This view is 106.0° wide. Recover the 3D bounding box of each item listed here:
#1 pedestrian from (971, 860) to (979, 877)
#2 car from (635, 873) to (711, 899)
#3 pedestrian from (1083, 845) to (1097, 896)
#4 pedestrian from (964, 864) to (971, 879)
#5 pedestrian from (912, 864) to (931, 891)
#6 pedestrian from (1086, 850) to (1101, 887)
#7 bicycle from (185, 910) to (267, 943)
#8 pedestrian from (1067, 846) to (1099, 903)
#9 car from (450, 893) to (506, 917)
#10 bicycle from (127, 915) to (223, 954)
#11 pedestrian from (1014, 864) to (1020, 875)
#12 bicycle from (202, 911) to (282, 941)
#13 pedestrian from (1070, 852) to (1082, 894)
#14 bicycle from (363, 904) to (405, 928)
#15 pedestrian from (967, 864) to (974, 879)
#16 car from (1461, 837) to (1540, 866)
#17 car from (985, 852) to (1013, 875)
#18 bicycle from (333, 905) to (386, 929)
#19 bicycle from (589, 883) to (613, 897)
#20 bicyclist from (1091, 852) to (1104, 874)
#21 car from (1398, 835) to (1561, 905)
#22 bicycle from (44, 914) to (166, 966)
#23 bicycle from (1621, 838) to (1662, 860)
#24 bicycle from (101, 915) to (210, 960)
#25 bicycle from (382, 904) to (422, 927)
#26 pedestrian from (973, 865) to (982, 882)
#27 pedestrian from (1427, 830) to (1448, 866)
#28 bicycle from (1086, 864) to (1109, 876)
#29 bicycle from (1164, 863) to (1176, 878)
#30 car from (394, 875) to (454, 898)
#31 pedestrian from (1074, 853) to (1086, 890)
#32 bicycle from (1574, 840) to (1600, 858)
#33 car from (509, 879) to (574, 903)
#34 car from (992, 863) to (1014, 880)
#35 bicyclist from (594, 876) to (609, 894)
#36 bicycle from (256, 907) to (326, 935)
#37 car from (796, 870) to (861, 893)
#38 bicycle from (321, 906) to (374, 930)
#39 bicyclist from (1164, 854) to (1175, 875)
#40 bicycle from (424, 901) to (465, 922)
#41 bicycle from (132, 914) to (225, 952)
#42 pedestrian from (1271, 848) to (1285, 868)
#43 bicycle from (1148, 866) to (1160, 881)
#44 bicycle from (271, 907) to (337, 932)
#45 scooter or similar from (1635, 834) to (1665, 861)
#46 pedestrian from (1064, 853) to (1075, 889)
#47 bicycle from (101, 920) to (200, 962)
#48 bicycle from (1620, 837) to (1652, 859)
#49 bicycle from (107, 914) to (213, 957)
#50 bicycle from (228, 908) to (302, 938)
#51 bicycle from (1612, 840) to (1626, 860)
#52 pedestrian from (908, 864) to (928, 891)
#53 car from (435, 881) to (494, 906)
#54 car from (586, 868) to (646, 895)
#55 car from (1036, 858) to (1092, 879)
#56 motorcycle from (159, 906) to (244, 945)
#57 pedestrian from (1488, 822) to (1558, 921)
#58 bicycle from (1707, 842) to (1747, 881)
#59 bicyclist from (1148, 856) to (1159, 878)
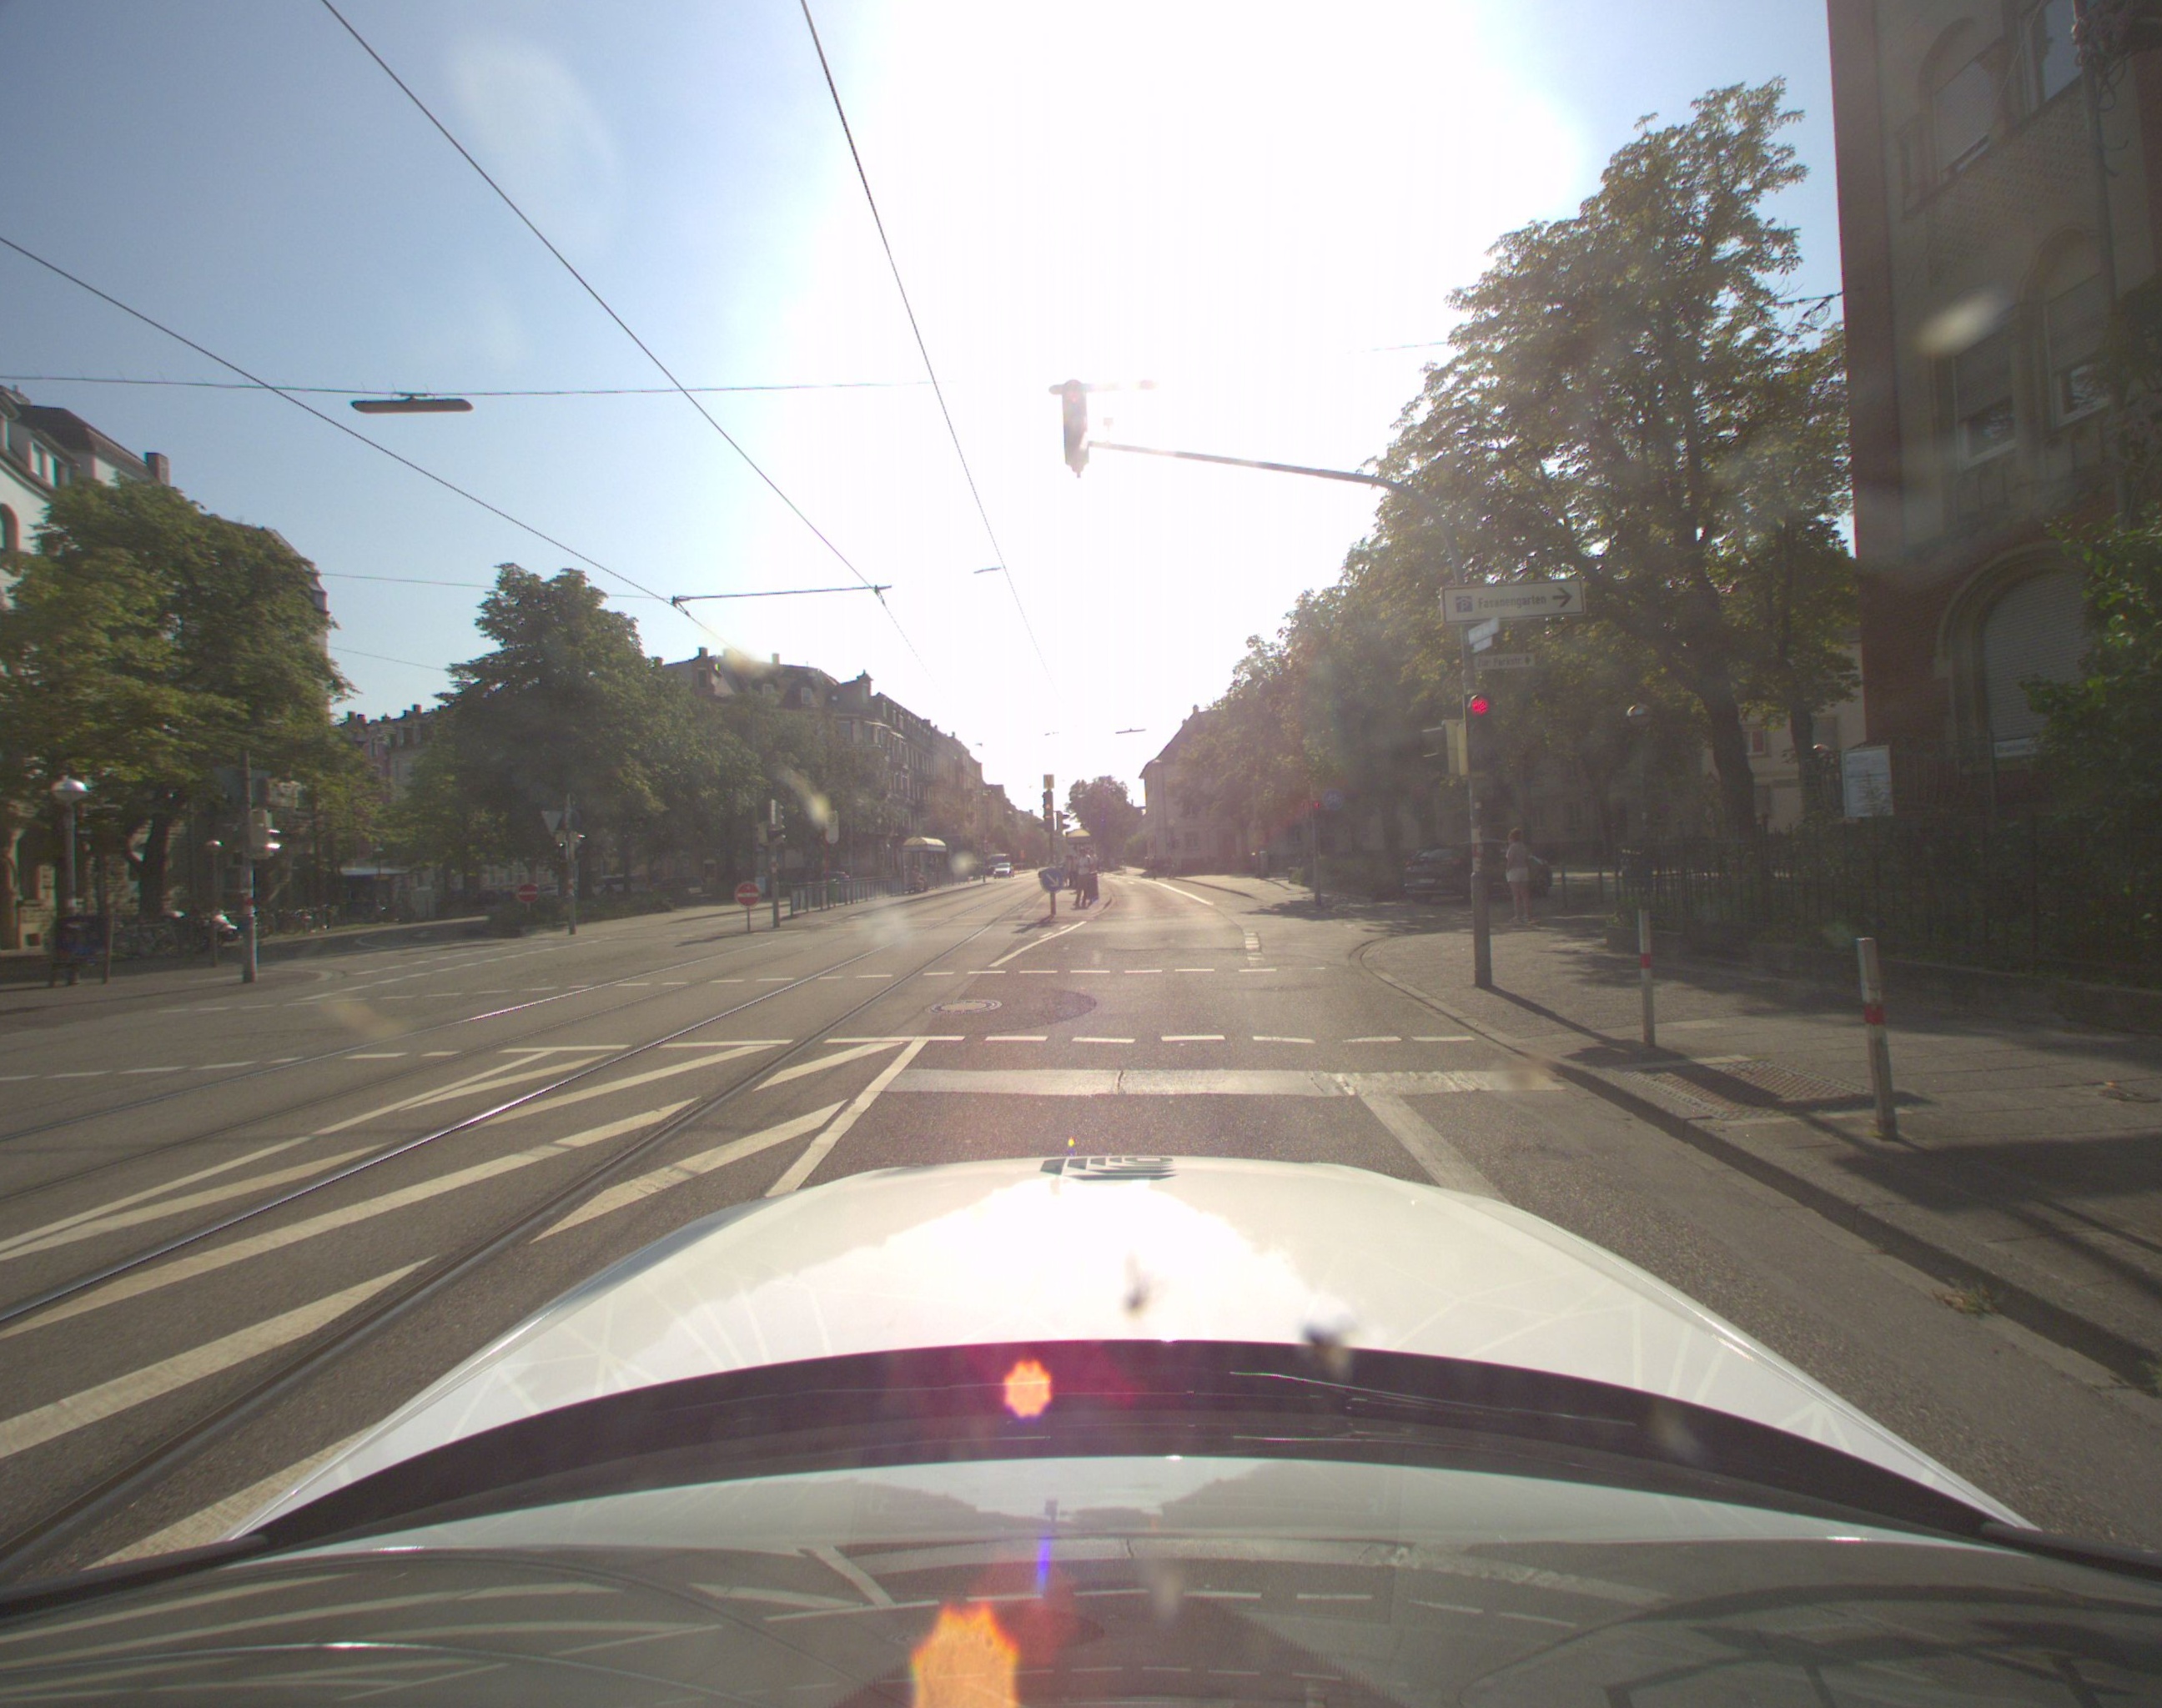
[{"bbox_3d":[-11.116,1.482,85.687,0.749,1.731,0.769,-3,-1,-8],"label":"pedestrian"},{"bbox_3d":[-28.461,2.195,56.980,4.330,1.569,1.990,-3,-1,-15],"label":"car"},{"bbox_3d":[0.322,0.602,29.911,0.502,1.834,0.534,0,2,1],"label":"pedestrian"},{"bbox_3d":[-13.169,2.067,94.570,0.749,1.731,0.769,-3,-1,-8],"label":"pedestrian"},{"bbox_3d":[-8.477,1.245,43.377,0.826,1.359,0.775,-3,-1,-4],"label":"pedestrian"},{"bbox_3d":[0.594,0.677,38.809,0.706,1.759,0.534,0,2,1],"label":"pedestrian"},{"bbox_3d":[-30.260,2.549,28.847,1.885,1.027,0.657,-2,-1,-33],"label":"bicycle"},{"bbox_3d":[0.063,0.625,25.647,0.693,1.725,0.753,1,2,34],"label":"pedestrian"},{"bbox_3d":[-51.421,4.315,69.500,3.952,1.828,2.011,-3,0,22],"label":"car"},{"bbox_3d":[-26.769,2.370,24.109,1.814,0.984,0.563,-1,-2,-40],"label":"bicycle"},{"bbox_3d":[-10.333,2.430,131.449,0.749,1.731,0.769,-3,-1,-8],"label":"pedestrian"},{"bbox_3d":[-30.837,2.635,29.976,1.919,0.935,0.730,-2,-1,-33],"label":"bicycle"},{"bbox_3d":[-0.218,0.785,34.622,0.502,1.759,0.534,0,2,1],"label":"pedestrian"},{"bbox_3d":[-33.276,2.962,38.907,0.423,0.978,1.770,-3,0,1],"label":"bicycle"},{"bbox_3d":[-13.263,2.095,97.401,0.749,1.731,0.769,-3,-1,-8],"label":"pedestrian"},{"bbox_3d":[22.669,-0.095,44.190,1.752,1.428,4.134,-3,0,-8],"label":"car"},{"bbox_3d":[-10.210,1.211,101.863,2.336,2.662,5.112,-3,-1,5],"label":"car"},{"bbox_3d":[-34.509,2.996,38.983,1.772,0.978,0.601,-3,0,-22],"label":"bicycle"},{"bbox_3d":[-36.007,2.668,61.039,1.833,0.958,0.551,-3,0,24],"label":"bicycle"},{"bbox_3d":[1.458,0.750,70.981,0.982,1.857,0.493,-3,-1,4],"label":"bicyclist"},{"bbox_3d":[10.356,0.358,21.083,4.240,1.515,1.597,-3,0,-29],"label":"car"},{"bbox_3d":[-24.736,2.160,20.683,0.563,1.113,1.888,-3,-1,22],"label":"bicycle"},{"bbox_3d":[27.639,-0.232,40.175,1.539,0.978,0.427,-3,-1,16],"label":"bicycle"},{"bbox_3d":[-24.874,2.222,21.926,0.562,1.003,1.890,-3,-1,37],"label":"bicycle"},{"bbox_3d":[-32.896,2.956,39.490,0.423,0.978,1.770,-3,0,1],"label":"bicycle"},{"bbox_3d":[-10.581,2.005,83.228,0.747,1.731,0.772,-3,-1,3],"label":"pedestrian"},{"bbox_3d":[17.998,-0.305,41.122,0.883,1.740,0.780,-3,-1,20],"label":"pedestrian"},{"bbox_3d":[1.432,1.386,70.975,1.927,0.978,0.497,-3,-1,3],"label":"bicycle"},{"bbox_3d":[6.186,1.117,56.681,0.556,0.978,1.856,-3,0,0],"label":"bicycle"},{"bbox_3d":[-57.931,2.864,71.822,3.959,1.828,2.007,-3,0,13],"label":"car"},{"bbox_3d":[-0.038,0.823,39.438,0.541,1.759,0.534,0,2,1],"label":"pedestrian"},{"bbox_3d":[28.718,-0.286,46.198,0.423,0.978,1.555,-3,0,-1],"label":"bicycle"},{"bbox_3d":[-40.495,2.746,61.127,4.283,1.569,2.011,-3,-1,24],"label":"car"},{"bbox_3d":[-8.231,1.804,86.669,1.794,1.653,3.644,-3,0,2],"label":"car"},{"bbox_3d":[-35.943,2.318,61.008,0.811,1.328,0.551,-3,0,24],"label":"bicyclist"},{"bbox_3d":[-31.746,2.671,32.753,1.908,0.980,0.679,-2,-1,-33],"label":"bicycle"},{"bbox_3d":[-19.631,2.113,63.463,4.359,1.569,1.976,-2,-1,-41],"label":"car"},{"bbox_3d":[-34.391,2.991,38.205,1.771,0.978,0.516,-3,0,-21],"label":"bicycle"},{"bbox_3d":[6.160,0.722,56.699,0.556,1.417,0.871,-3,0,-1],"label":"bicyclist"},{"bbox_3d":[-33.481,2.999,42.814,1.754,0.978,0.607,-3,0,8],"label":"bicycle"},{"bbox_3d":[-27.616,2.392,24.957,1.814,0.983,0.652,-1,-2,-40],"label":"bicycle"},{"bbox_3d":[17.076,0.339,70.559,0.882,1.740,0.781,-3,-1,34],"label":"pedestrian"},{"bbox_3d":[5.192,1.386,58.011,0.627,0.978,1.770,-3,0,0],"label":"bicycle"},{"bbox_3d":[-32.508,2.730,34.103,1.877,0.935,0.635,-2,-1,-17],"label":"bicycle"},{"bbox_3d":[27.479,-0.310,39.349,1.059,1.197,0.463,-7,-1,33],"label":"scooter or similar"},{"bbox_3d":[-0.565,0.852,40.865,0.530,1.759,0.545,0,2,2],"label":"pedestrian"},{"bbox_3d":[-23.839,2.208,20.894,0.473,0.920,1.619,-3,-1,31],"label":"bicycle"},{"bbox_3d":[28.317,-0.303,41.545,1.555,1.038,0.423,-3,0,-18],"label":"bicycle"},{"bbox_3d":[-25.923,2.272,22.966,1.887,1.034,0.563,-2,-2,-38],"label":"bicycle"},{"bbox_3d":[-31.421,2.650,31.386,1.908,0.980,0.679,-2,-1,-33],"label":"bicycle"},{"bbox_3d":[27.392,-0.195,41.442,0.420,0.978,1.566,-3,0,39],"label":"bicycle"},{"bbox_3d":[-8.475,1.235,42.400,0.826,1.359,0.775,-3,-1,-4],"label":"pedestrian"},{"bbox_3d":[-49.012,3.134,64.711,3.951,1.828,2.011,-3,0,23],"label":"car"},{"bbox_3d":[-35.991,2.133,63.040,3.952,1.828,2.011,-3,0,22],"label":"car"},{"bbox_3d":[-1.414,1.210,68.776,4.295,1.569,2.006,-3,-1,10],"label":"car"},{"bbox_3d":[-29.975,2.431,27.792,1.882,1.154,0.601,-2,-1,-33],"label":"motorcycle"},{"bbox_3d":[8.118,0.316,14.995,0.749,1.731,0.769,-3,-1,-8],"label":"pedestrian"},{"bbox_3d":[17.775,0.201,22.391,1.779,0.978,0.421,-3,-1,-39],"label":"bicycle"},{"bbox_3d":[5.174,0.902,58.014,0.627,1.507,0.678,-3,0,-1],"label":"bicyclist"}]
